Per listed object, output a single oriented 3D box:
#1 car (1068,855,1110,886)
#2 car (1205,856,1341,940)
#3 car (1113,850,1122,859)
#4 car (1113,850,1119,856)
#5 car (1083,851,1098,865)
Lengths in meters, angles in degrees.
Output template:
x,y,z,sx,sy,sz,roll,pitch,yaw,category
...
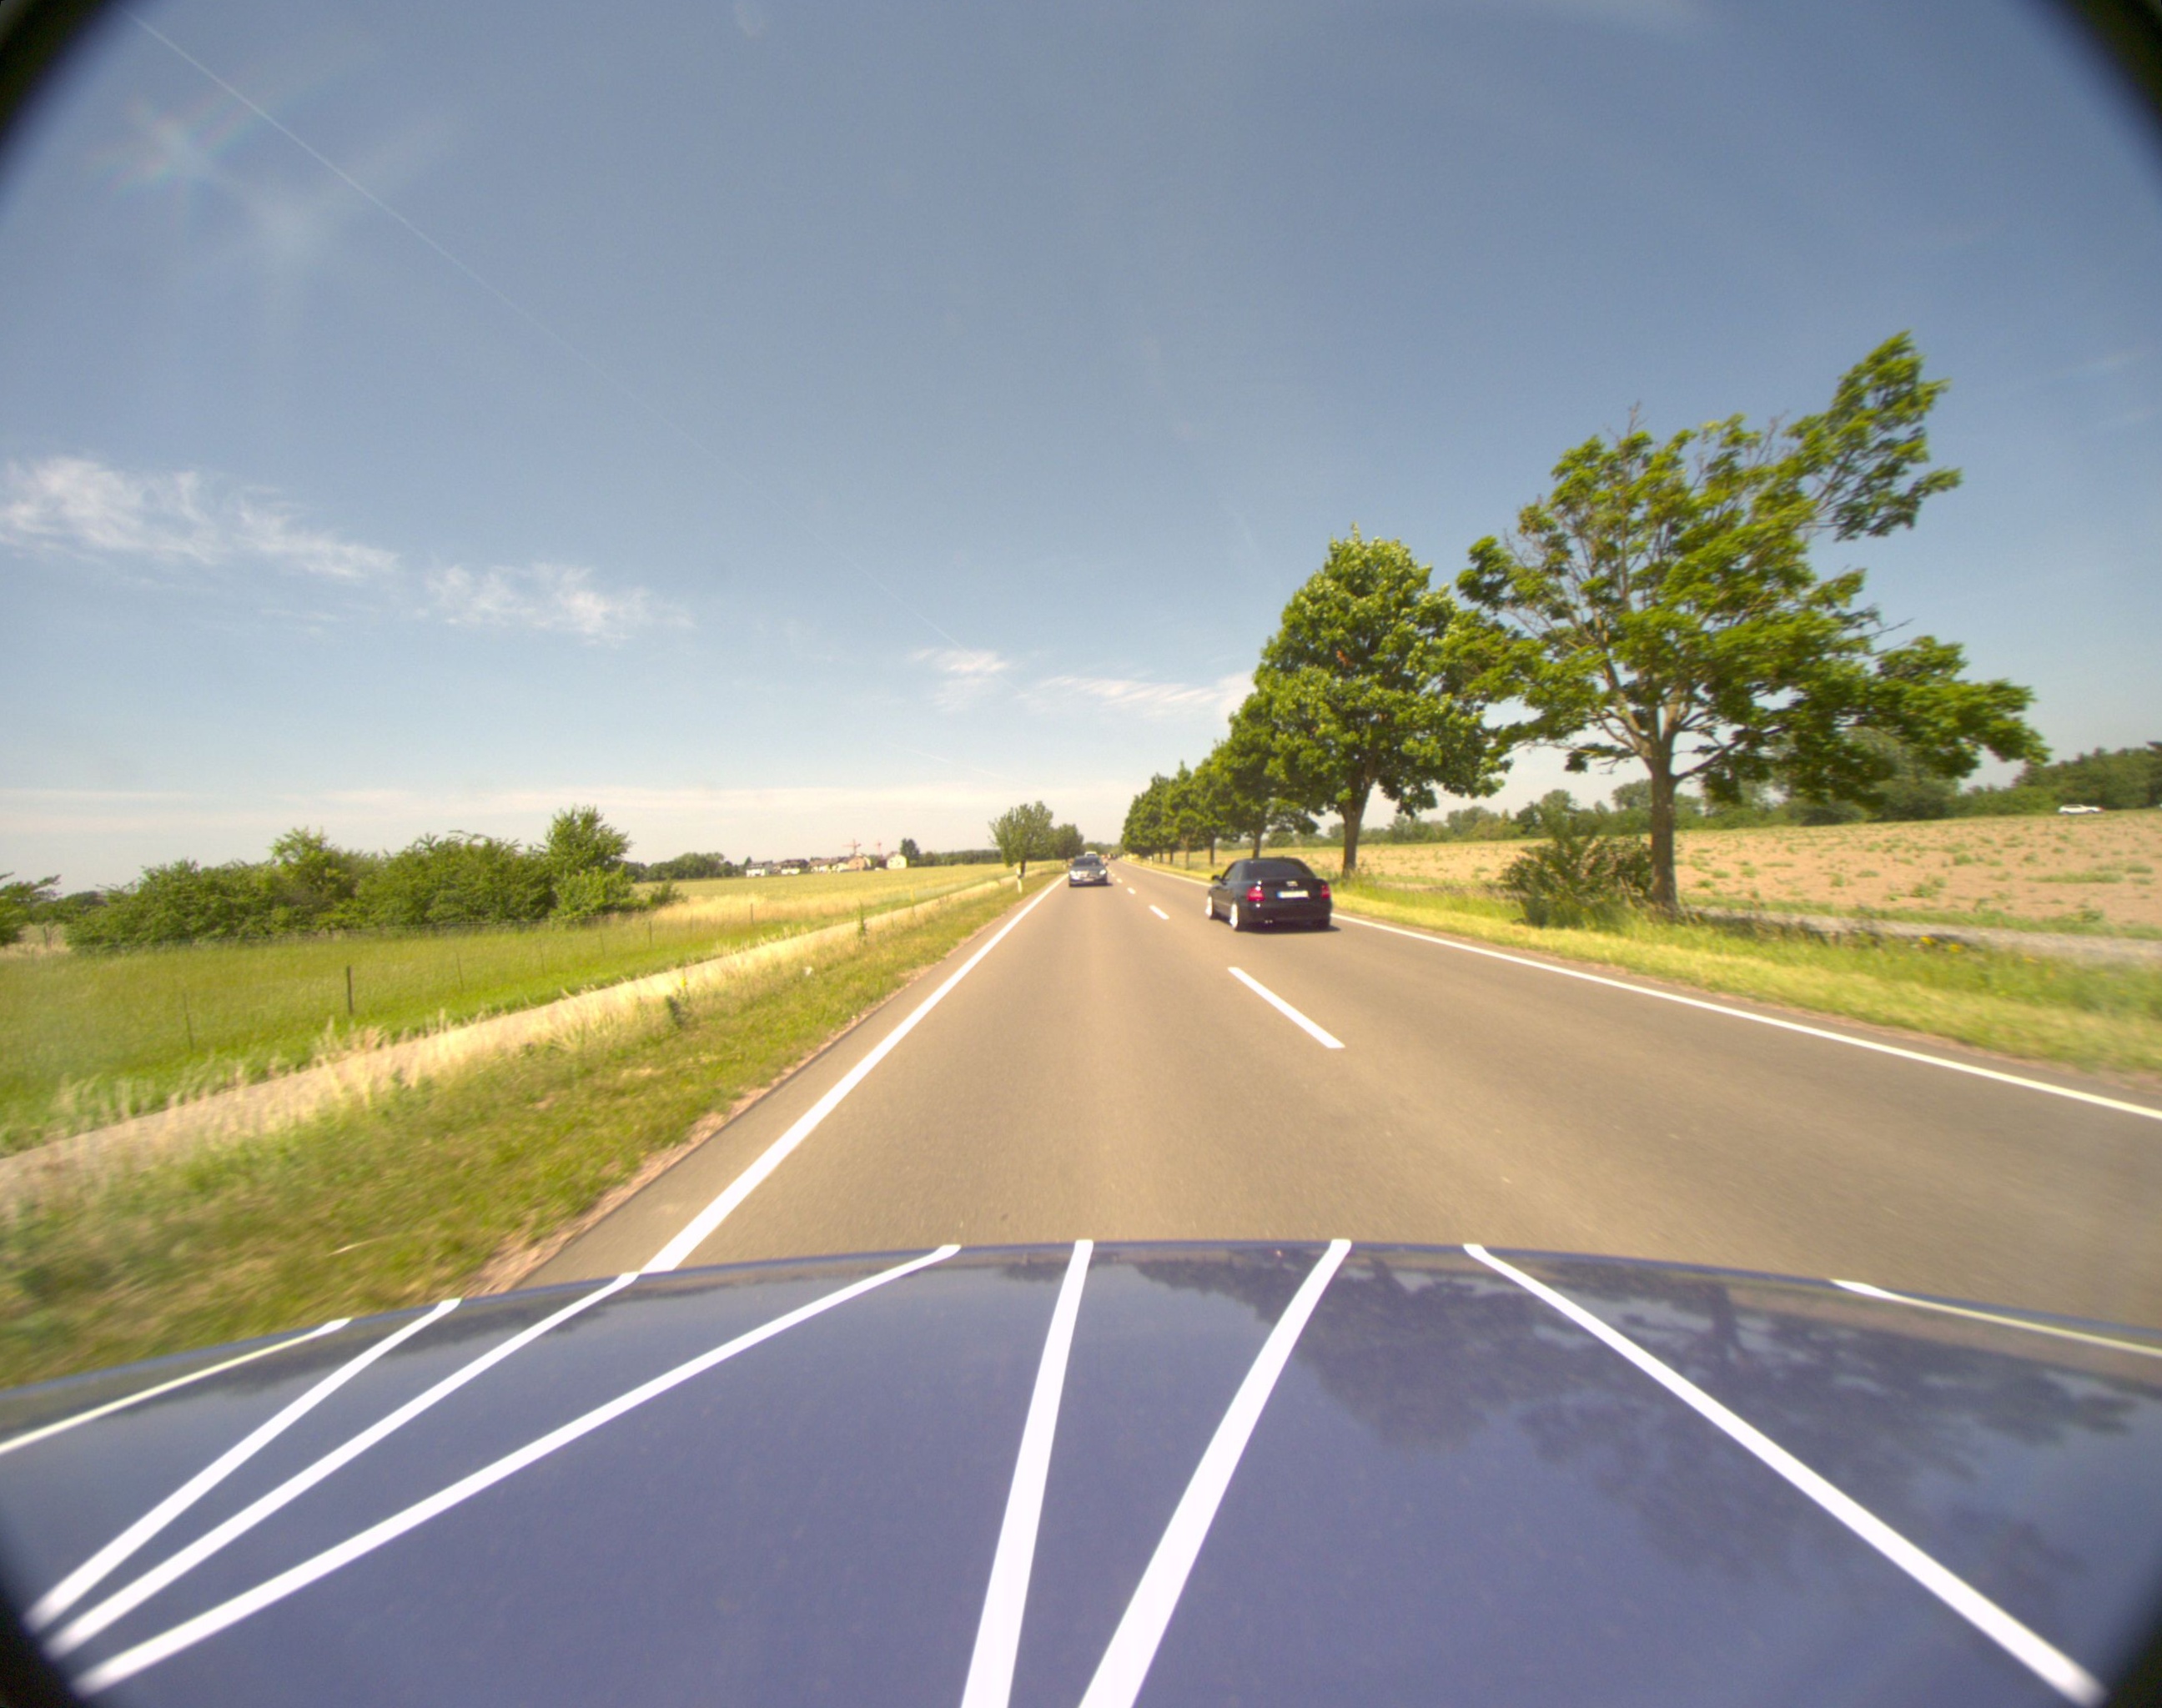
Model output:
x,y,z,sx,sy,sz,roll,pitch,yaw,category
0.434,0.767,37.788,1.953,1.391,4.000,-1,0,1,car
3.637,0.769,15.083,1.709,1.325,4.000,-2,1,1,car
8.201,0.031,170.567,1.685,1.838,4.000,-3,0,1,car
10.164,-0.339,219.731,1.826,1.412,4.589,-2,1,3,car
1.407,0.594,111.613,1.998,1.907,4.207,-3,0,3,car
